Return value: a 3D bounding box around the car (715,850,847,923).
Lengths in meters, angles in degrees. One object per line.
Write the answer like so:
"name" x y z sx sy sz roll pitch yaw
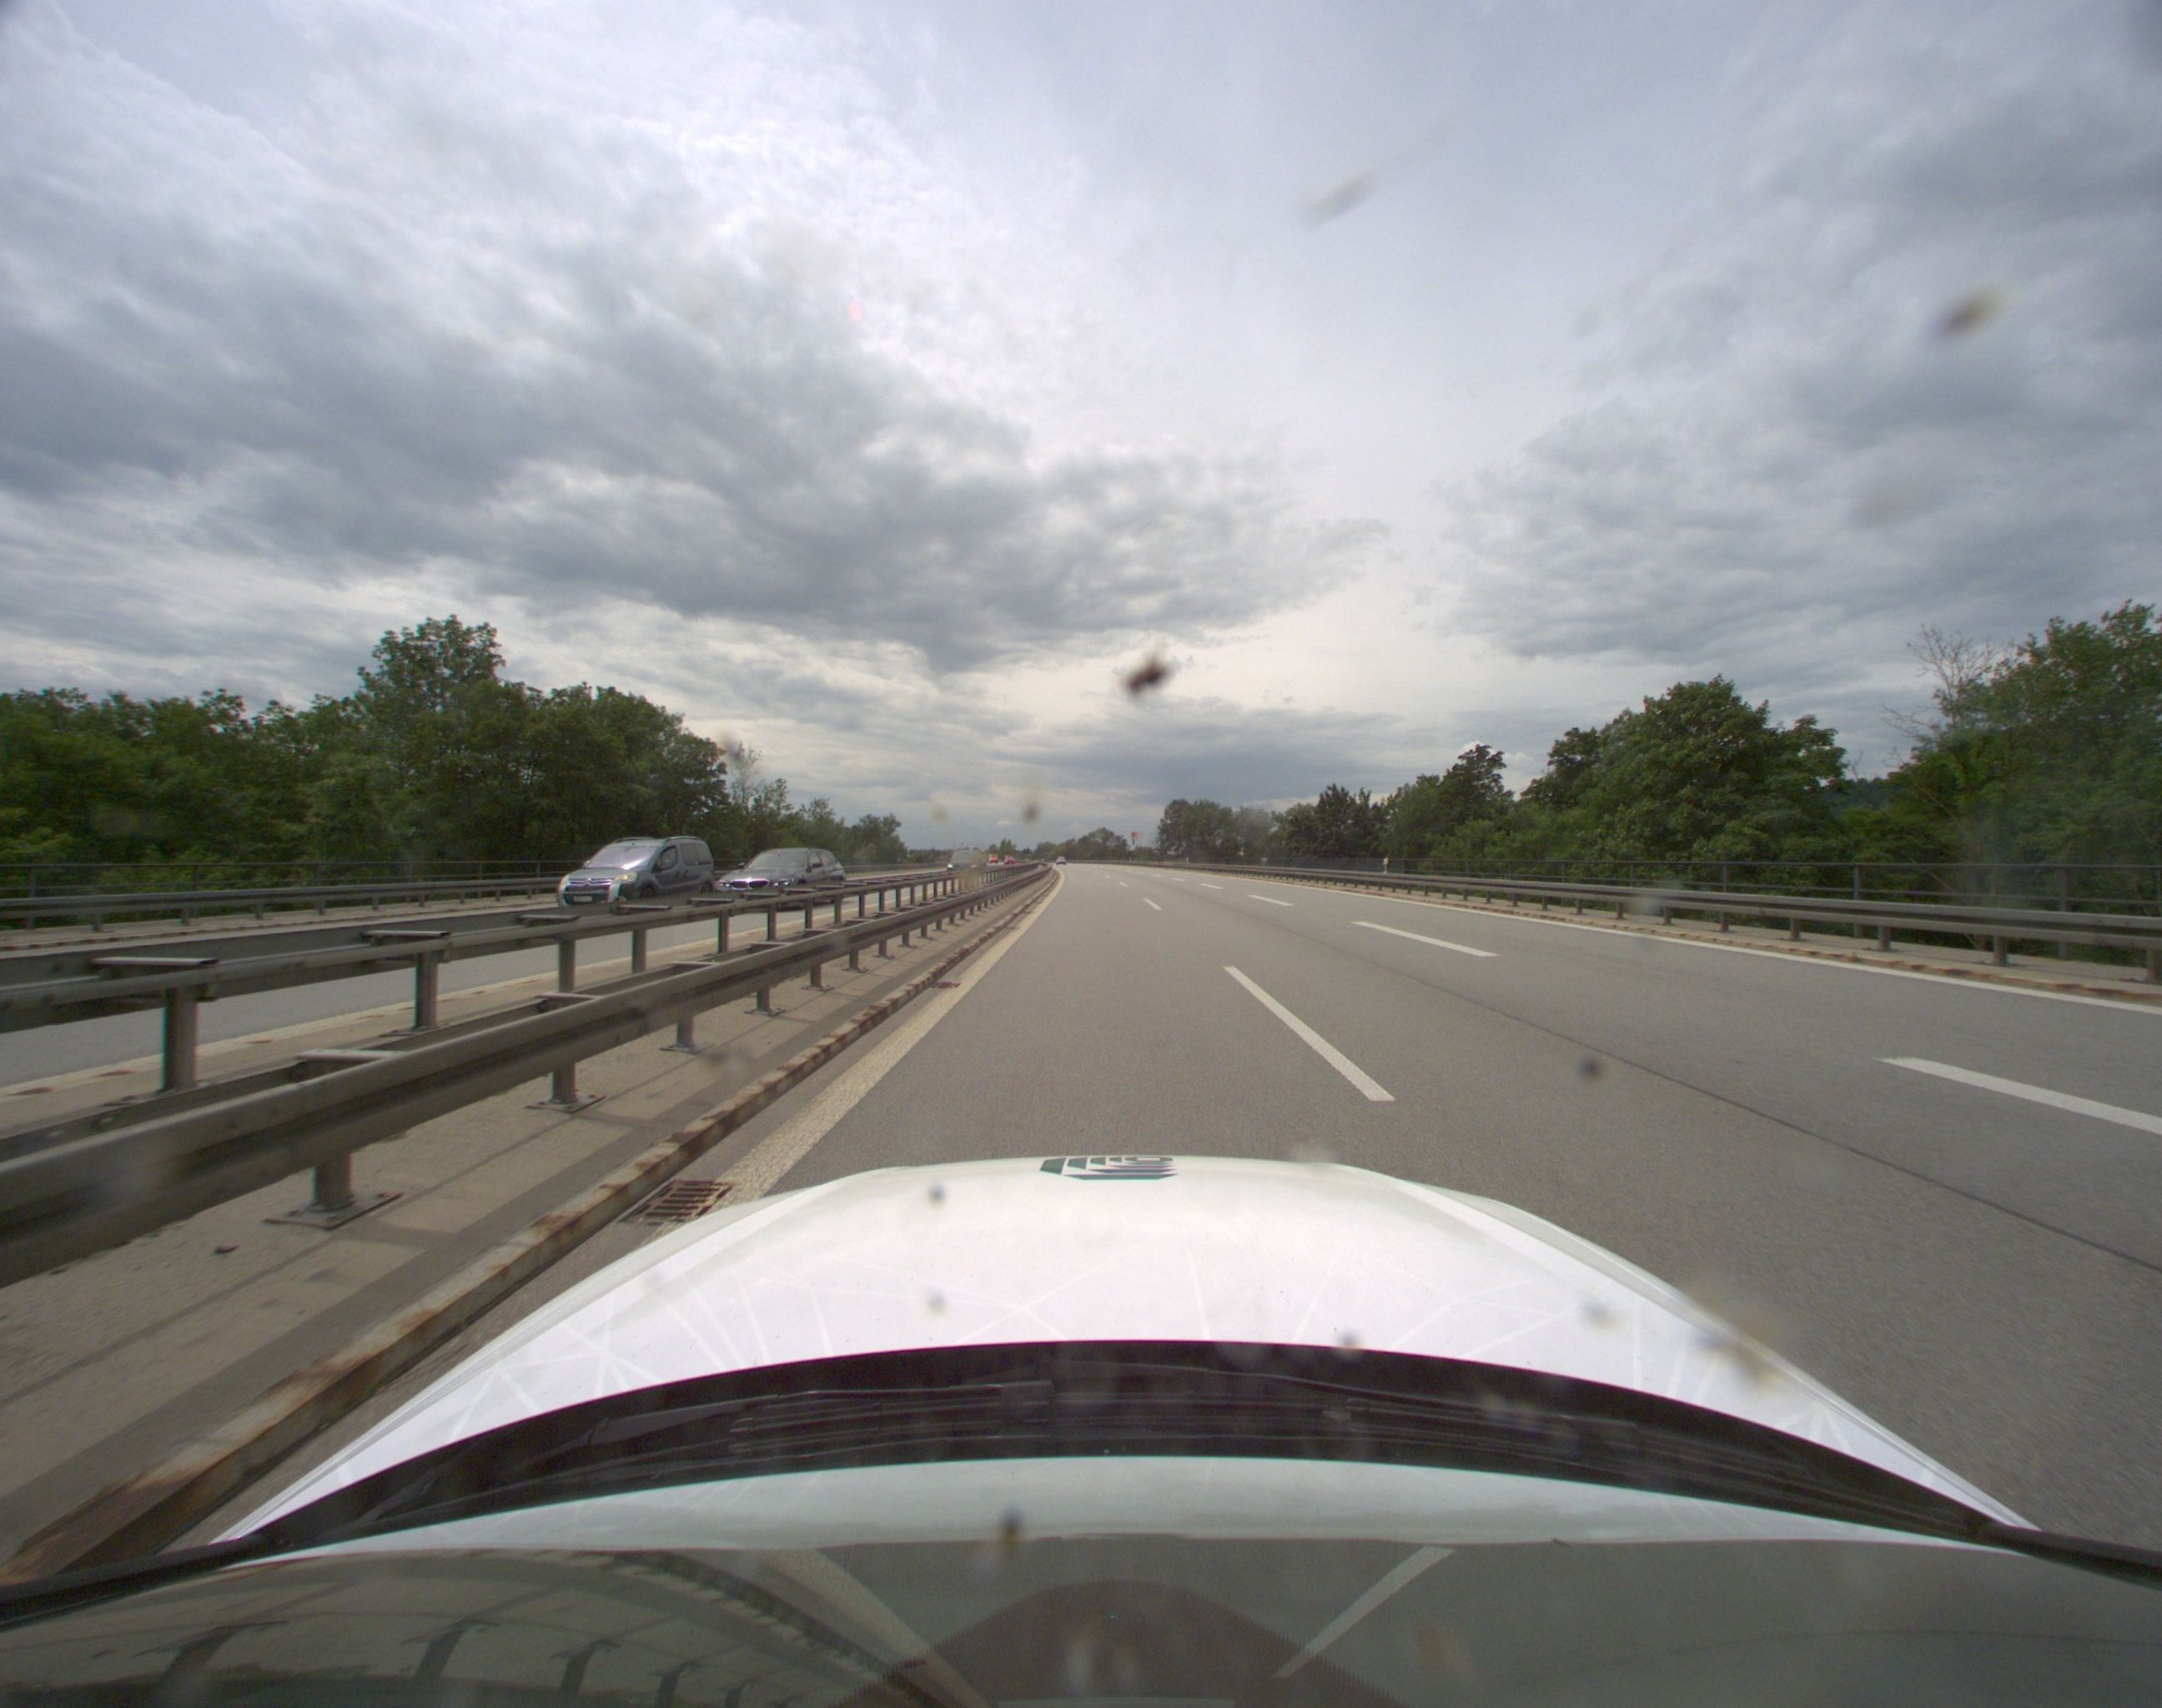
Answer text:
"car" -7.133 0.710 19.780 1.638 1.549 4.000 -1 0 1

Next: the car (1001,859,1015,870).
"car" -11.175 1.639 125.130 1.808 1.640 4.565 0 0 -2

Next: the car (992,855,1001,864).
"car" -21.239 1.302 204.818 1.990 2.293 6.386 0 0 -5

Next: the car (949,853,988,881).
"car" -6.605 0.734 48.087 1.638 1.605 4.002 -1 0 2

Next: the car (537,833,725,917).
"car" -10.338 0.450 19.136 1.986 1.745 4.225 0 0 1

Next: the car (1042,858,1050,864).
"car" -9.584 1.965 223.741 1.891 1.640 4.608 -1 0 -8

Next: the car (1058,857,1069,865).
"car" -3.987 1.507 179.960 1.902 1.640 4.382 0 -1 -9
